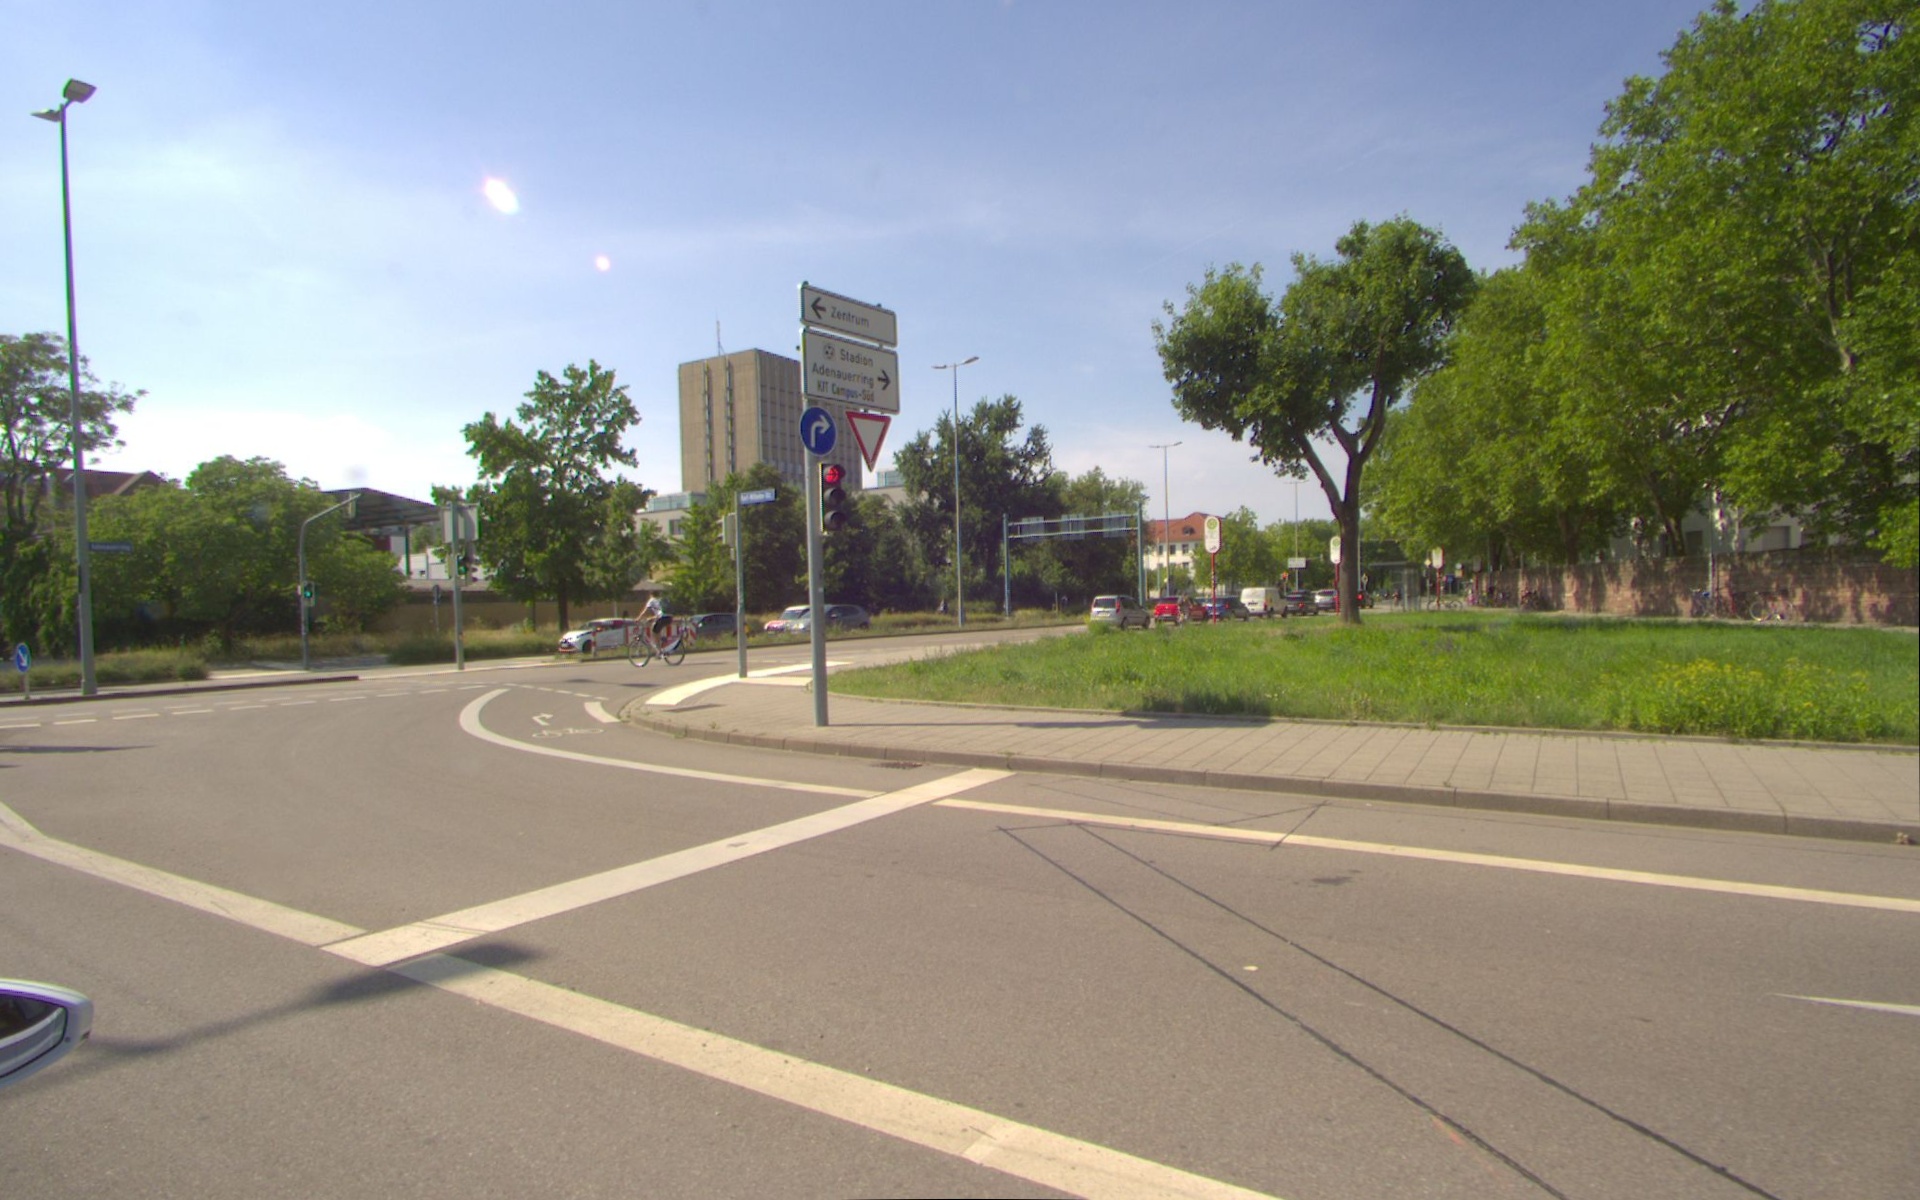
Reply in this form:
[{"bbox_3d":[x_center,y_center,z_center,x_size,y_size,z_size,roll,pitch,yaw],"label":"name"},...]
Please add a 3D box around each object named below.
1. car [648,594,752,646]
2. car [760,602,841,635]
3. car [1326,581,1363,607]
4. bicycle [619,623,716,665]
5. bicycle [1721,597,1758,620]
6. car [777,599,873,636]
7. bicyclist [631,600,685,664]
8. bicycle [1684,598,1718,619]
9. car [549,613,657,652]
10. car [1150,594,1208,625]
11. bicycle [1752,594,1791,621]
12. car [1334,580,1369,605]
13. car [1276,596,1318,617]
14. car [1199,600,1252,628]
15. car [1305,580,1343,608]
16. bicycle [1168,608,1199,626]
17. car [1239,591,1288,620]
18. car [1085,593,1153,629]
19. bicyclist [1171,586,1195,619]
[{"bbox_3d":[-11.233,0.832,43.442,1.976,2.040,3.971,-3,-1,37],"label":"car"},{"bbox_3d":[-8.409,0.972,53.088,1.883,1.590,4.300,-1,1,32],"label":"car"},{"bbox_3d":[31.449,-0.488,81.918,1.973,2.040,3.976,-1,1,34],"label":"car"},{"bbox_3d":[-6.975,1.045,23.908,2.128,0.928,0.674,-1,1,10],"label":"bicycle"},{"bbox_3d":[26.875,0.287,34.544,0.334,0.738,1.364,-1,1,5],"label":"bicycle"},{"bbox_3d":[-5.737,0.735,42.975,1.619,1.424,4.080,-3,-1,37],"label":"car"},{"bbox_3d":[-7.210,0.776,23.891,1.121,1.489,0.496,-1,-1,10],"label":"bicyclist"},{"bbox_3d":[26.905,0.289,36.373,0.334,0.738,1.364,-1,1,5],"label":"bicycle"},{"bbox_3d":[-15.321,1.369,43.159,1.972,1.483,3.978,-2,0,32],"label":"car"},{"bbox_3d":[11.591,0.495,52.852,1.727,1.528,3.978,-1,1,32],"label":"car"},{"bbox_3d":[26.811,0.249,33.110,0.365,0.867,1.307,-1,1,7],"label":"bicycle"},{"bbox_3d":[33.143,-0.630,84.724,1.973,2.040,3.976,-1,1,34],"label":"car"},{"bbox_3d":[23.656,0.430,70.250,1.729,1.357,3.973,-1,1,36],"label":"car"},{"bbox_3d":[15.679,0.789,58.976,1.729,1.493,3.973,-1,1,36],"label":"car"},{"bbox_3d":[28.363,-0.474,77.940,1.972,2.040,3.977,-1,1,32],"label":"car"},{"bbox_3d":[10.572,0.784,47.291,0.554,0.803,1.878,1,2,44],"label":"bicycle"},{"bbox_3d":[19.544,0.343,64.348,1.729,1.781,4.402,-1,1,36],"label":"car"},{"bbox_3d":[7.564,0.500,47.427,1.727,1.528,3.978,-1,1,32],"label":"car"},{"bbox_3d":[10.501,0.110,47.223,0.558,1.494,1.158,0,1,44],"label":"bicyclist"}]
